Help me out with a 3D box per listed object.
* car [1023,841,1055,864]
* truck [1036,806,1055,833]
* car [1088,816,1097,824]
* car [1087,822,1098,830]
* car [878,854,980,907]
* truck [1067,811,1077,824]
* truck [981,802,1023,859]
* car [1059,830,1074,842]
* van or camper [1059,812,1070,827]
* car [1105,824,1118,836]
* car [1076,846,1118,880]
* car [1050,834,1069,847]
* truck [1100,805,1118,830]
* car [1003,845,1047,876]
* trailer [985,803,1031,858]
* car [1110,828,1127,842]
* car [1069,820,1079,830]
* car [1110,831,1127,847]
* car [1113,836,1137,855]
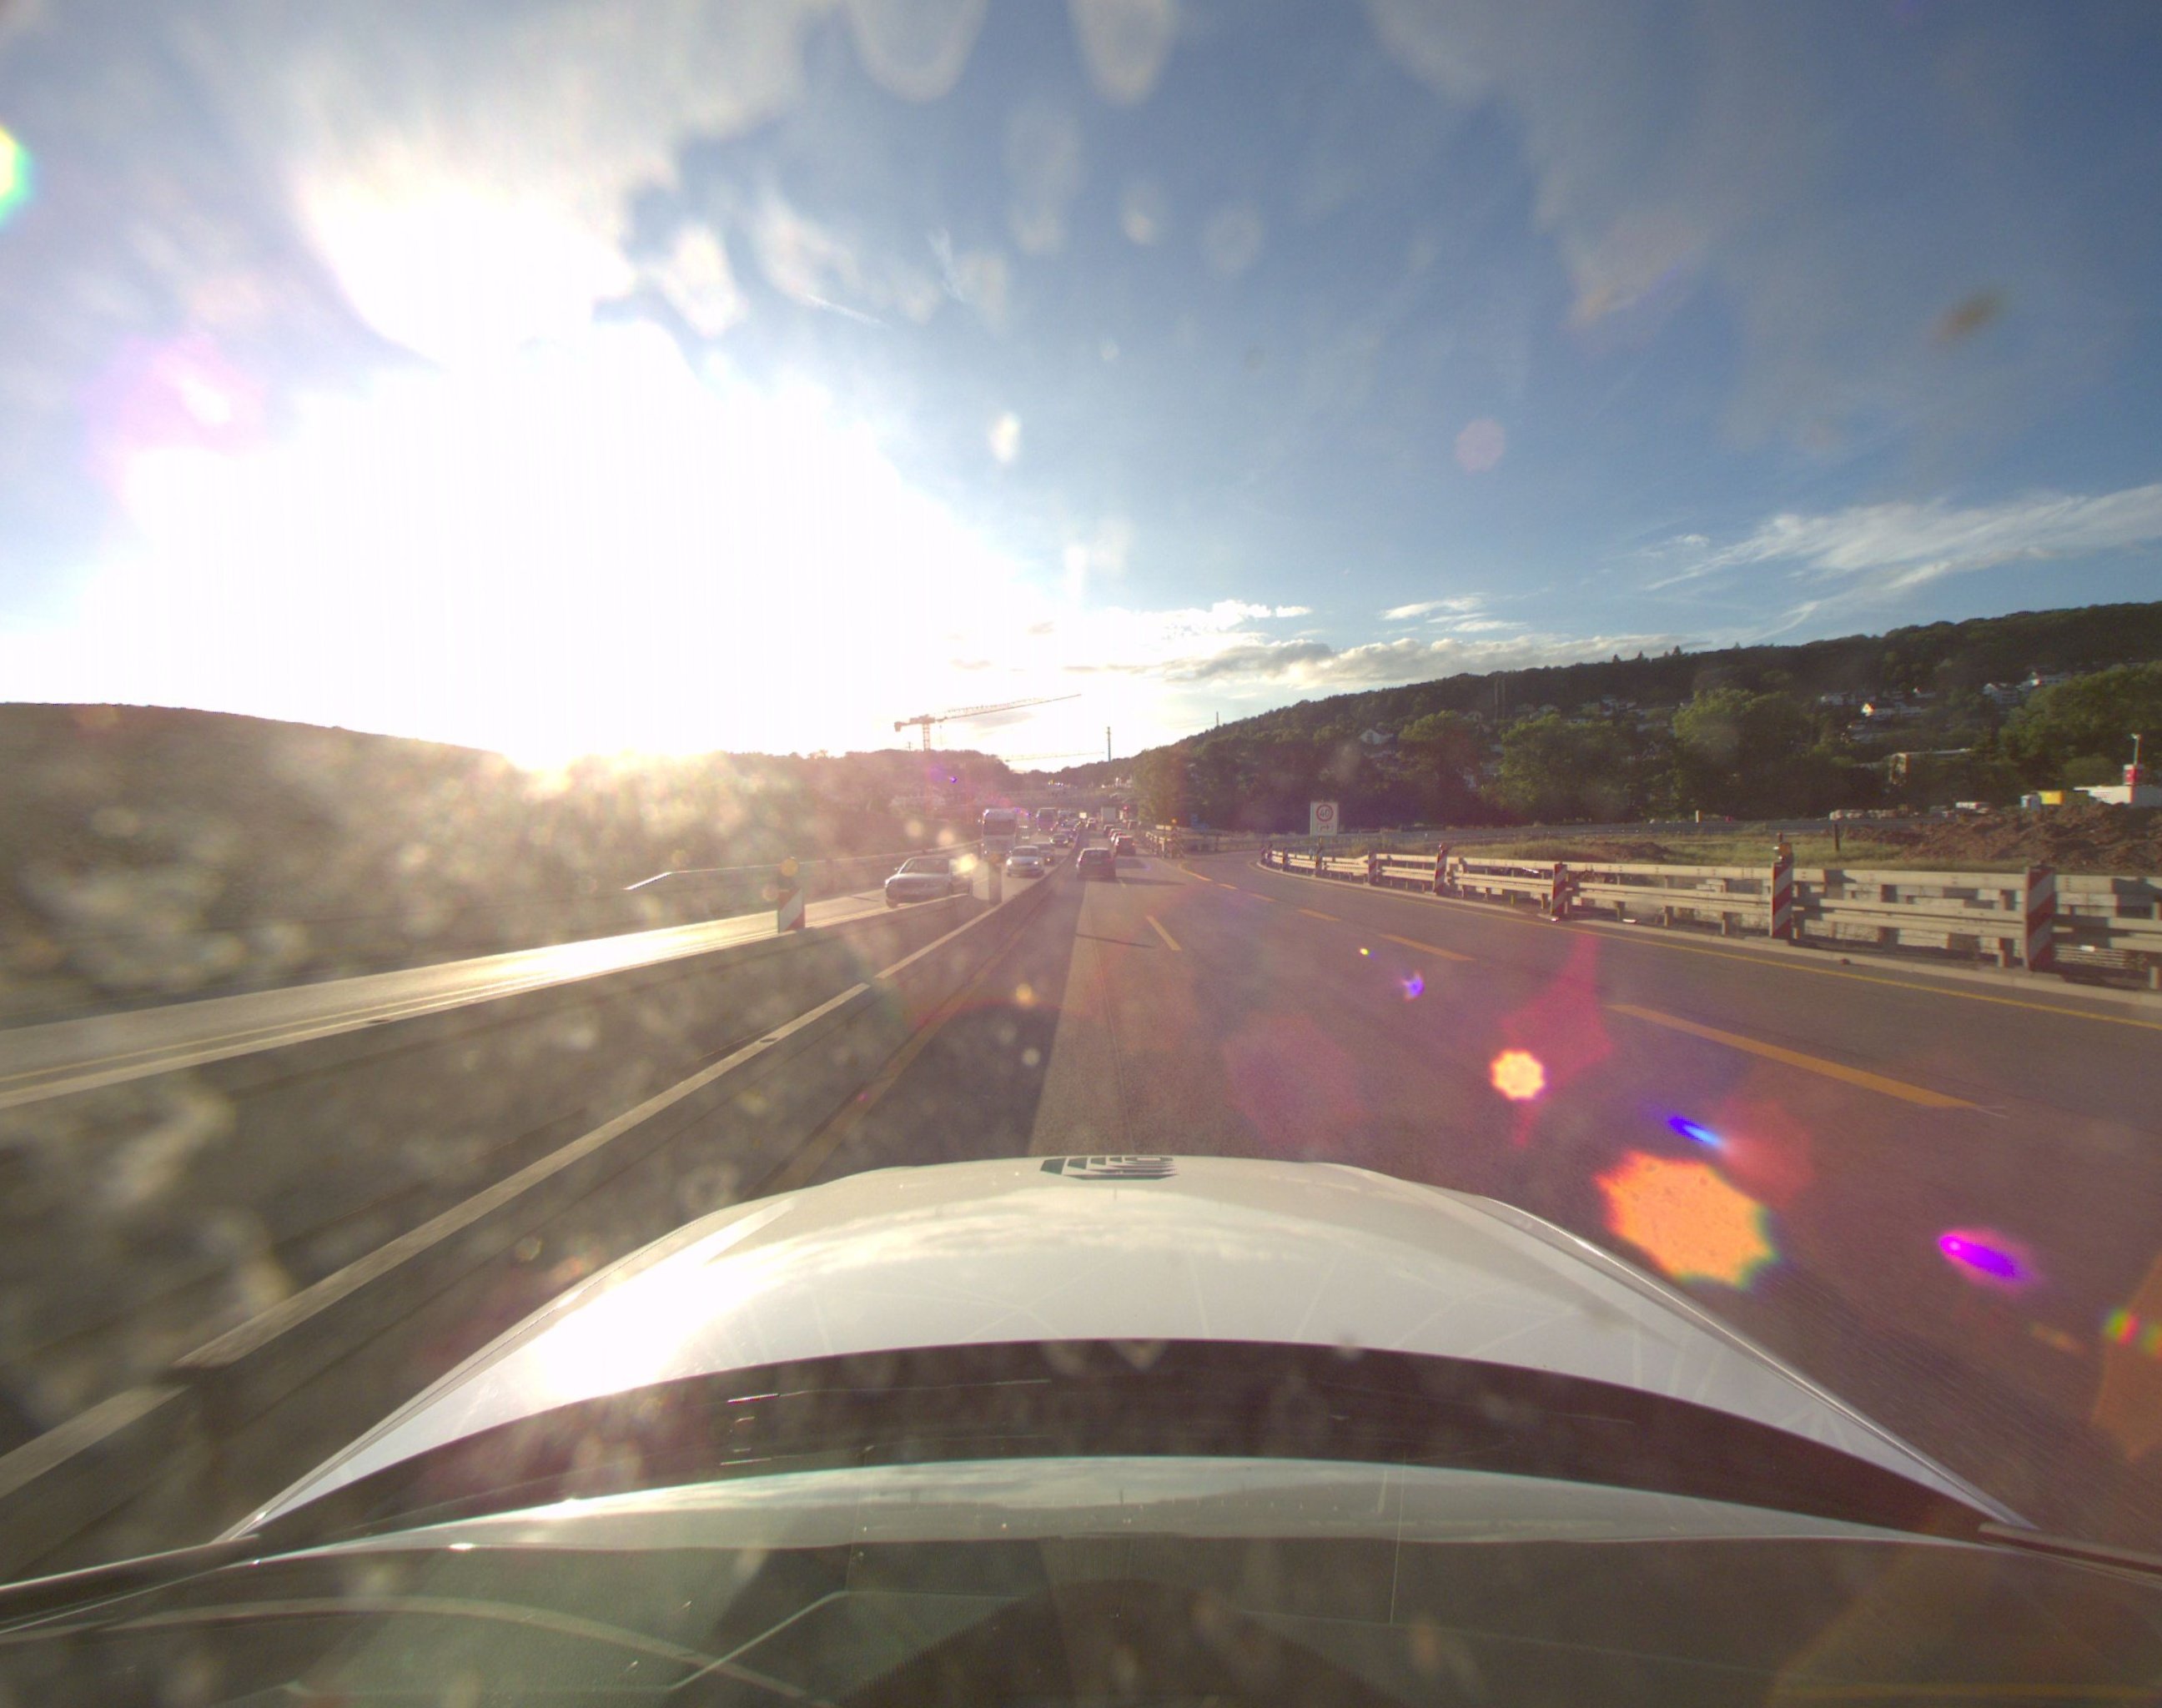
[{"bbox_3d":[-2.923,-0.124,57.044,1.843,1.483,4.513,-2,1,1],"label":"car"},{"bbox_3d":[-5.514,-5.306,126.636,2.761,4.080,5.775,0,2,-1],"label":"truck"},{"bbox_3d":[2.626,-7.438,180.411,1.916,1.552,4.001,0,-1,1],"label":"car"},{"bbox_3d":[1.964,-4.828,141.838,1.856,1.420,4.002,0,1,1],"label":"car"},{"bbox_3d":[-4.298,0.700,23.781,1.781,1.357,4.640,0,0,4],"label":"car"},{"bbox_3d":[-2.869,-11.663,258.455,2.804,4.047,5.676,-1,3,2],"label":"truck"},{"bbox_3d":[-6.073,-1.782,63.382,2.544,4.220,6.051,0,1,1],"label":"truck"},{"bbox_3d":[-1.810,-2.321,103.818,1.710,1.409,4.328,-1,2,1],"label":"car"},{"bbox_3d":[-3.904,-8.248,192.770,2.449,3.497,7.416,-1,3,0],"label":"van or camper"},{"bbox_3d":[4.371,-3.478,116.914,1.808,1.632,4.412,0,2,0],"label":"car"},{"bbox_3d":[0.673,0.385,37.380,1.765,1.389,3.999,0,2,-1],"label":"car"},{"bbox_3d":[-2.322,-1.484,88.975,1.830,1.409,4.496,-1,2,1],"label":"car"},{"bbox_3d":[5.353,-7.253,158.779,3.373,4.496,15.277,0,4,1],"label":"truck"},{"bbox_3d":[-2.802,0.301,41.407,1.782,1.488,4.222,0,0,2],"label":"car"},{"bbox_3d":[-6.021,-1.882,69.563,2.522,4.213,13.934,0,1,0],"label":"trailer"},{"bbox_3d":[4.622,-2.333,101.048,1.869,1.599,4.965,-1,2,0],"label":"car"},{"bbox_3d":[-1.363,-5.752,162.424,1.986,1.793,4.001,0,1,1],"label":"car"},{"bbox_3d":[4.091,-1.676,88.193,1.767,1.585,4.138,0,3,2],"label":"car"},{"bbox_3d":[3.779,-0.711,70.310,1.807,1.615,4.525,0,0,0],"label":"car"}]
